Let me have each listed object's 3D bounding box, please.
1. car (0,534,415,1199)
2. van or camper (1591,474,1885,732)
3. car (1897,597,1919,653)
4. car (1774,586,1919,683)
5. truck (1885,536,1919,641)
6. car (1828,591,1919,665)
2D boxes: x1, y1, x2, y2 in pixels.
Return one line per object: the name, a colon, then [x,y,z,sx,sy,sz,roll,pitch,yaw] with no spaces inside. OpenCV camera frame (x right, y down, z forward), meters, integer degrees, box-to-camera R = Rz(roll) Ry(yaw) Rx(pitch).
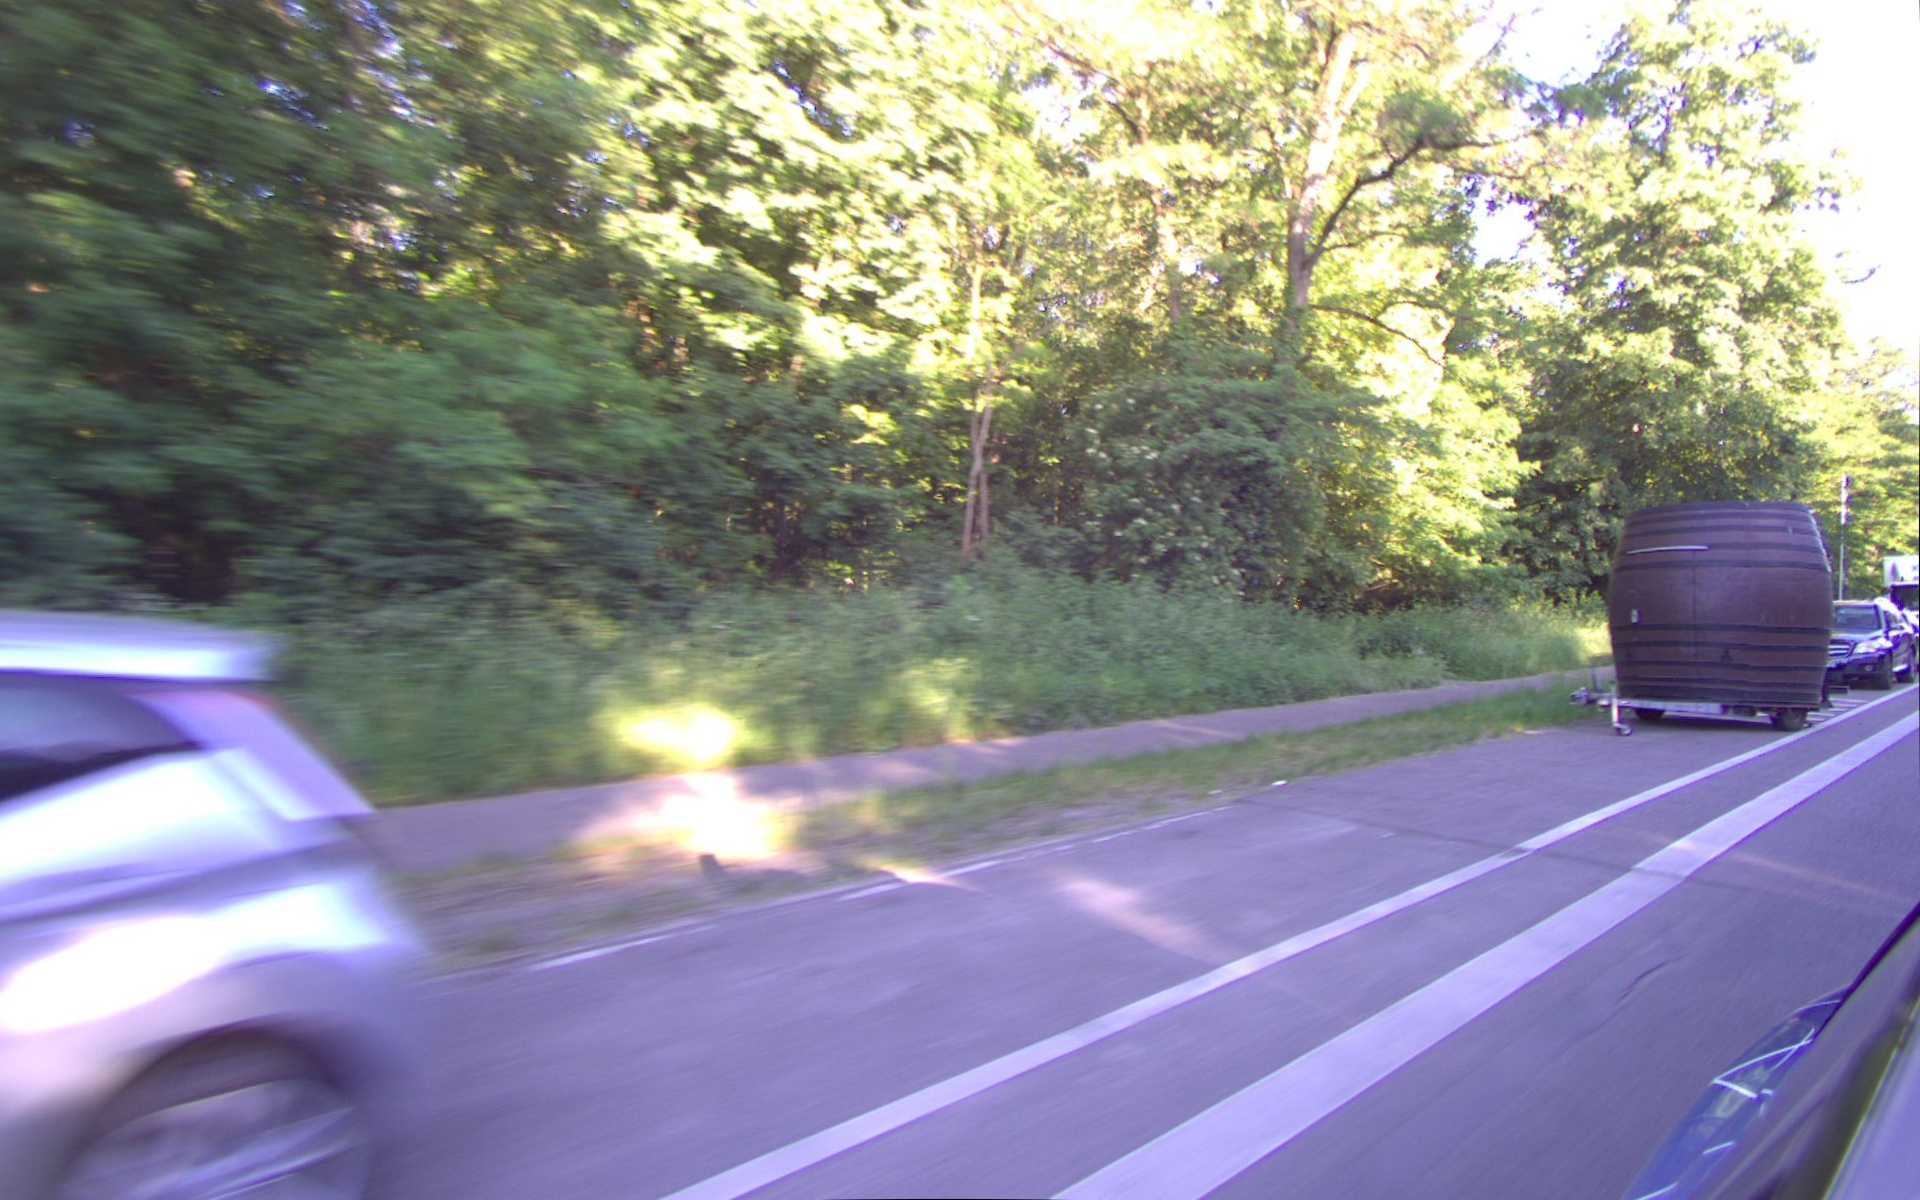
car: [-3.233,0.677,1.578,3.950,1.565,1.715,0,-1,-40]
van or camper: [11.162,0.032,14.256,6.449,2.835,2.442,0,0,-45]
car: [29.145,0.707,29.907,3.930,1.588,1.714,0,-1,-41]
car: [17.548,0.617,19.771,4.470,1.686,1.715,0,-1,-40]
truck: [35.680,-0.361,36.328,8.430,3.541,2.837,0,1,-42]
car: [22.115,0.623,23.898,4.470,1.588,1.715,0,-1,-40]
